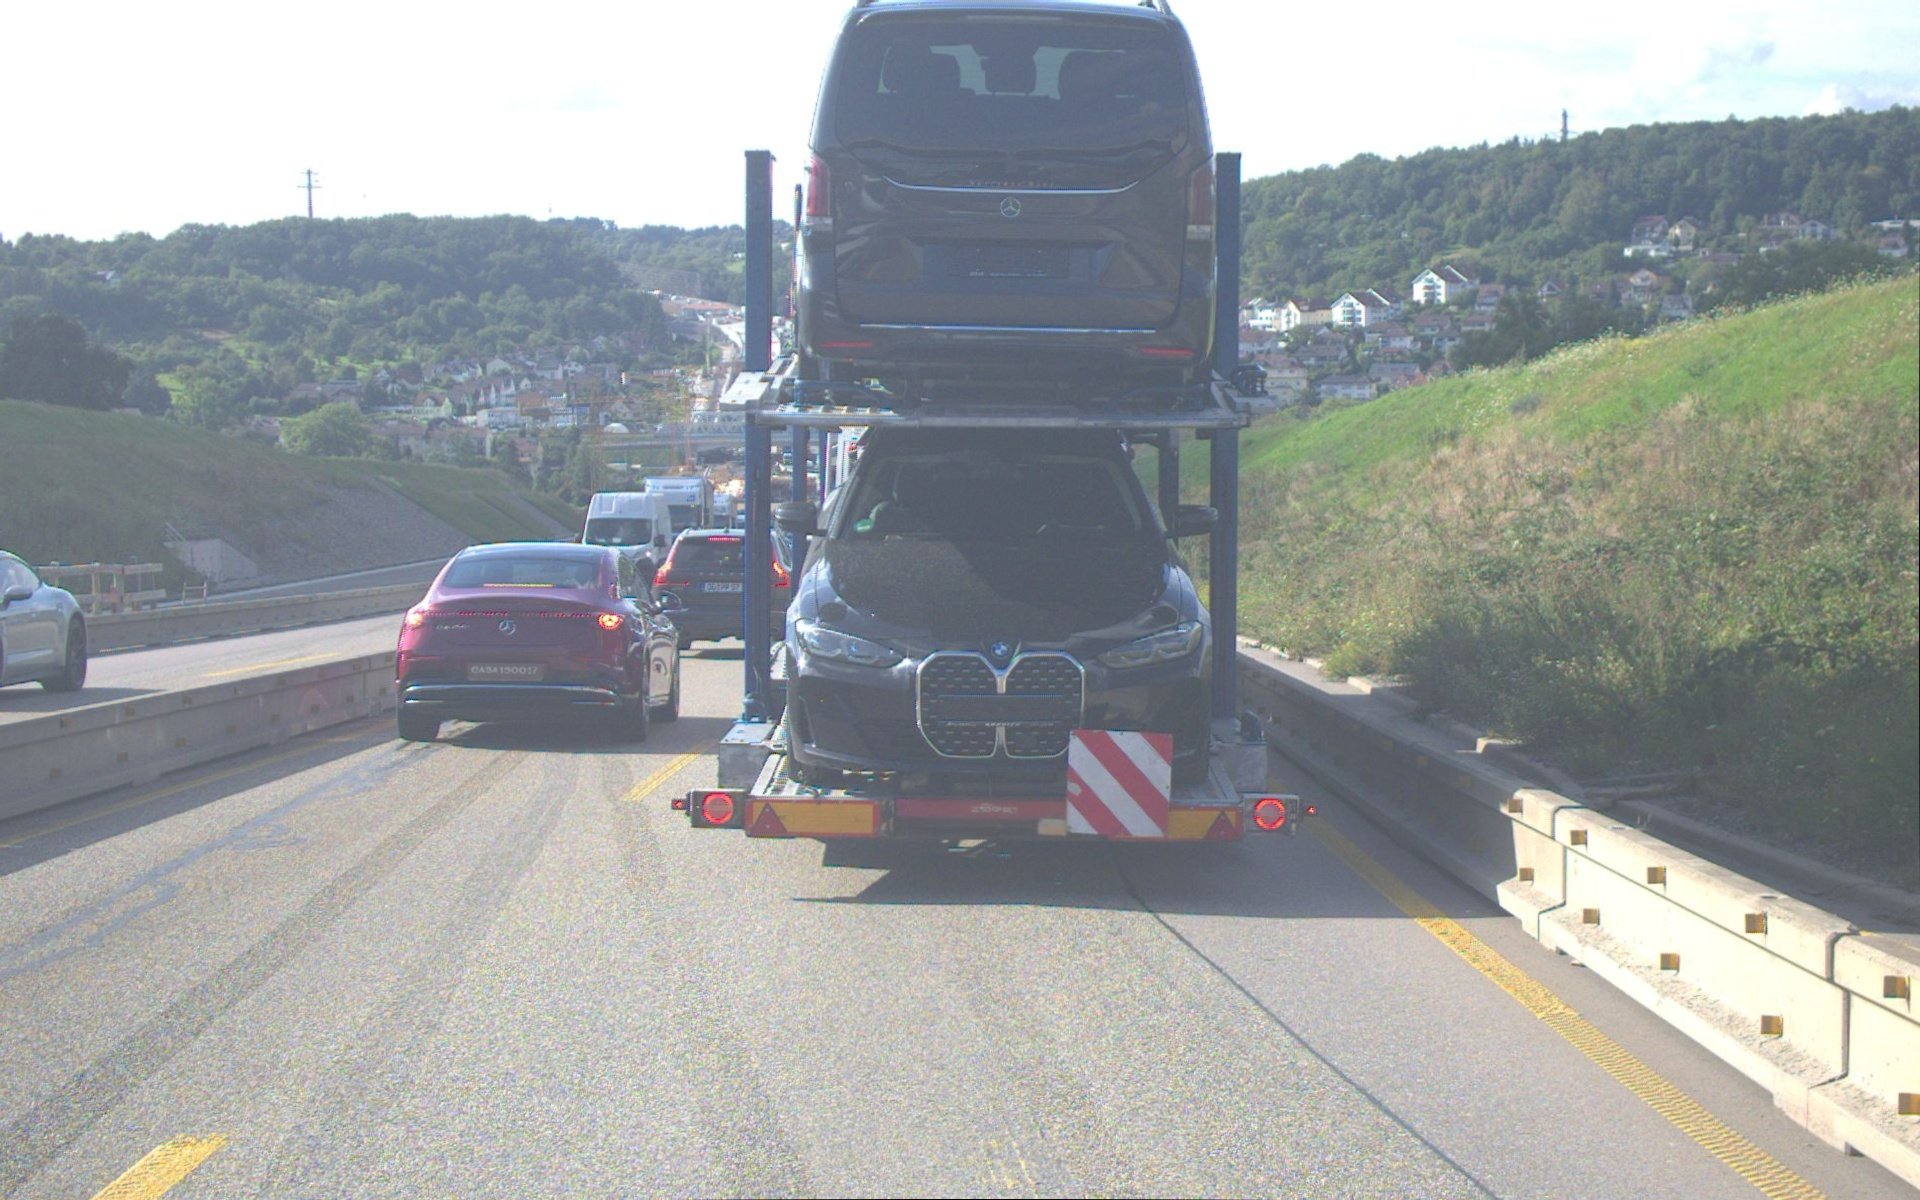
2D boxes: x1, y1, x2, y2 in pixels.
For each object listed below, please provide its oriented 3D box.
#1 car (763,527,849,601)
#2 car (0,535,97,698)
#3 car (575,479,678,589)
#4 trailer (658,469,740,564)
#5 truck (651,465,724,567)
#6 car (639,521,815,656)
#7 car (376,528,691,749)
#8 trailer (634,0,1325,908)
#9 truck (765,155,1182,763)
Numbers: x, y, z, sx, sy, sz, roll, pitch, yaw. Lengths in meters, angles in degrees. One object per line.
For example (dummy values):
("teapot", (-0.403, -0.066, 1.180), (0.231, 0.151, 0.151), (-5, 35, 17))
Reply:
("car", (-3.402, -0.829, 76.493), (1.796, 1.591, 4.743), (0, 1, -1))
("car", (-9.249, 0.163, 31.189), (1.734, 1.420, 4.628), (-3, 1, -2))
("car", (-9.144, -1.806, 94.684), (2.110, 2.826, 6.139), (-3, 1, 0))
("trailer", (-11.276, -3.599, 149.517), (2.614, 3.940, 13.875), (0, 1, 0))
("truck", (-11.278, -3.488, 142.692), (2.614, 4.139, 5.782), (0, 1, 0))
("car", (-2.965, -0.198, 44.703), (1.993, 1.619, 4.750), (1, 1, -1))
("car", (-3.187, 0.225, 26.545), (1.823, 1.487, 4.685), (1, 2, 0))
("trailer", (0.084, -0.912, 19.219), (2.708, 4.015, 11.420), (0, 1, 0))
("truck", (0.101, -0.967, 25.153), (2.678, 3.908, 6.028), (0, 1, 0))
